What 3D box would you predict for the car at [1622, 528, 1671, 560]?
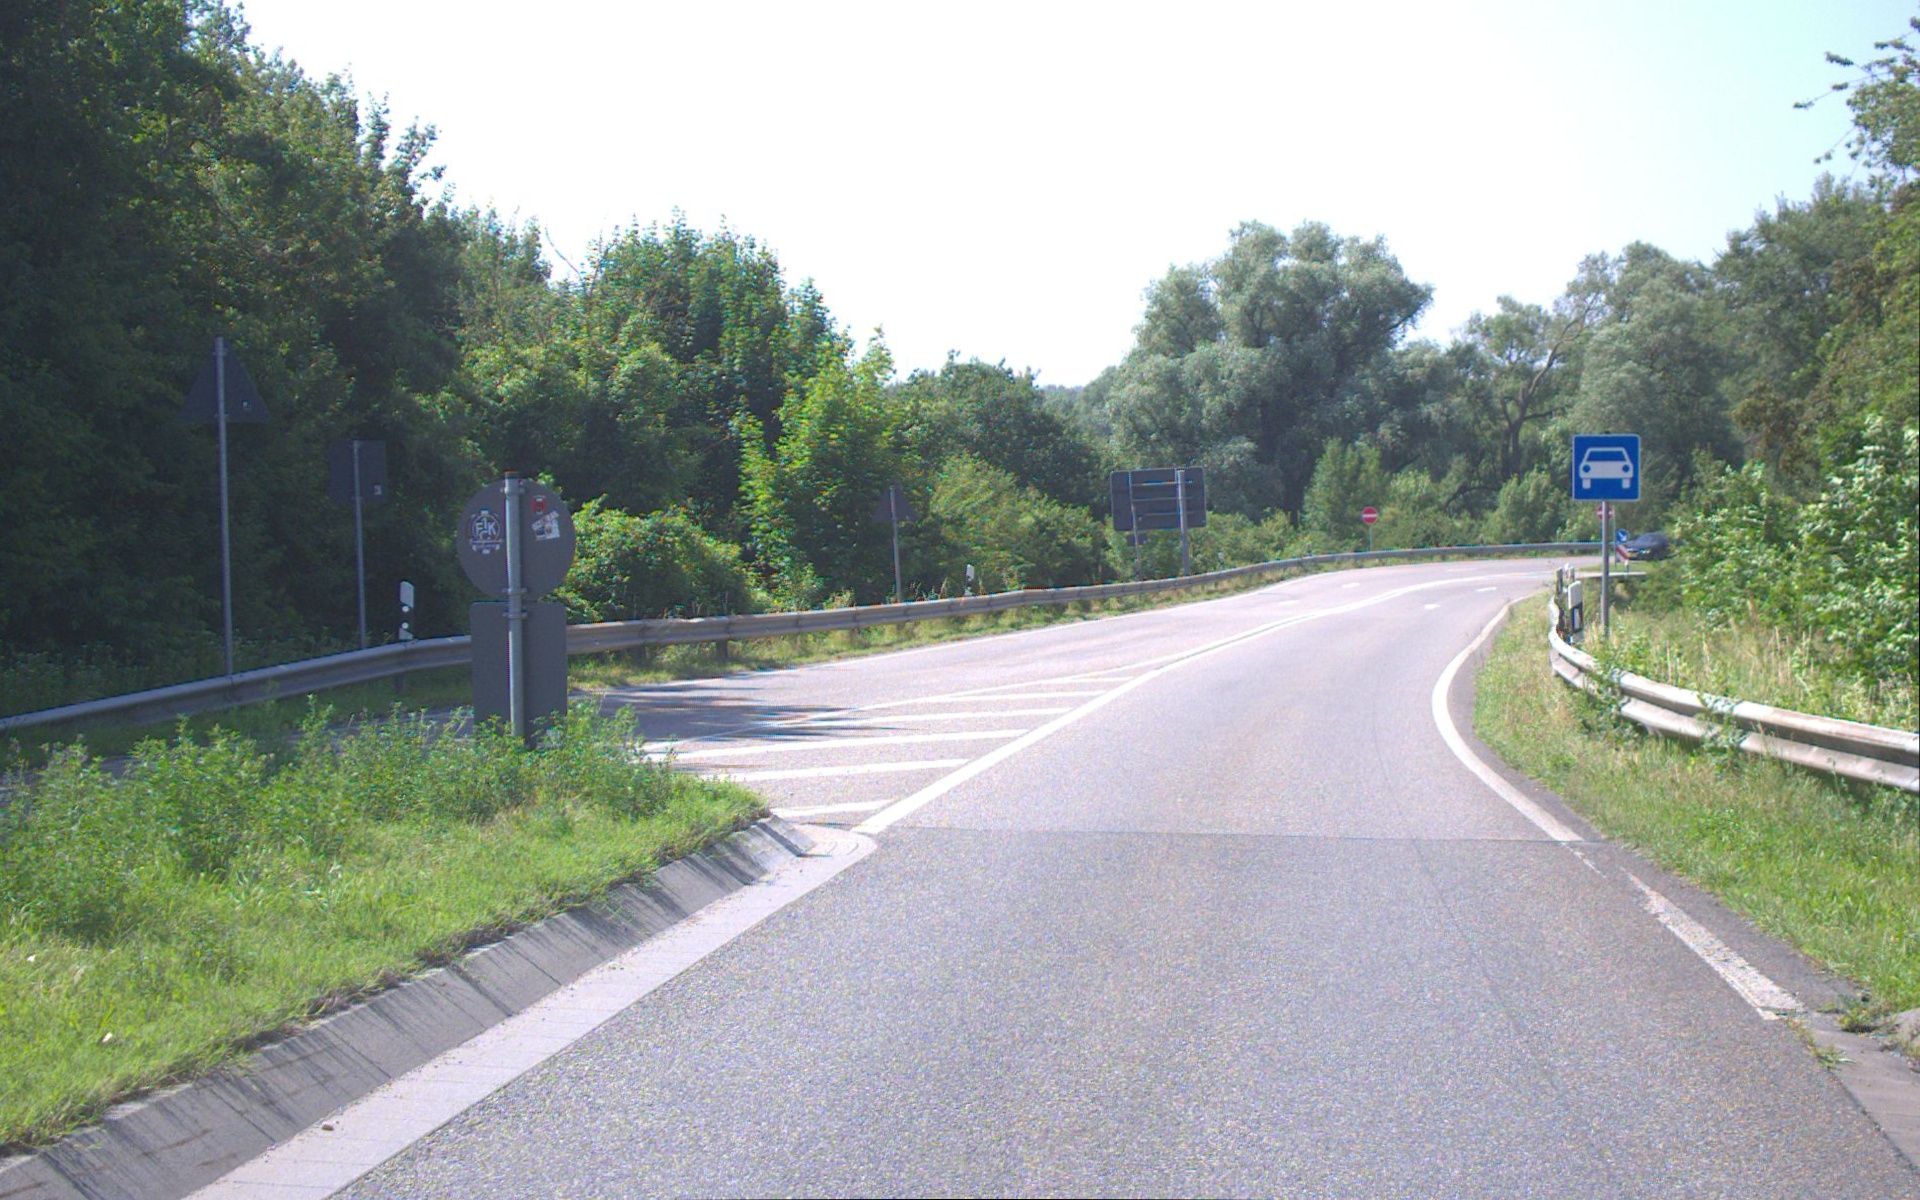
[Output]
[{"bbox_3d":[32.080,-2.599,160.639,1.609,1.468,4.216,1,1,20],"label":"car"}]
